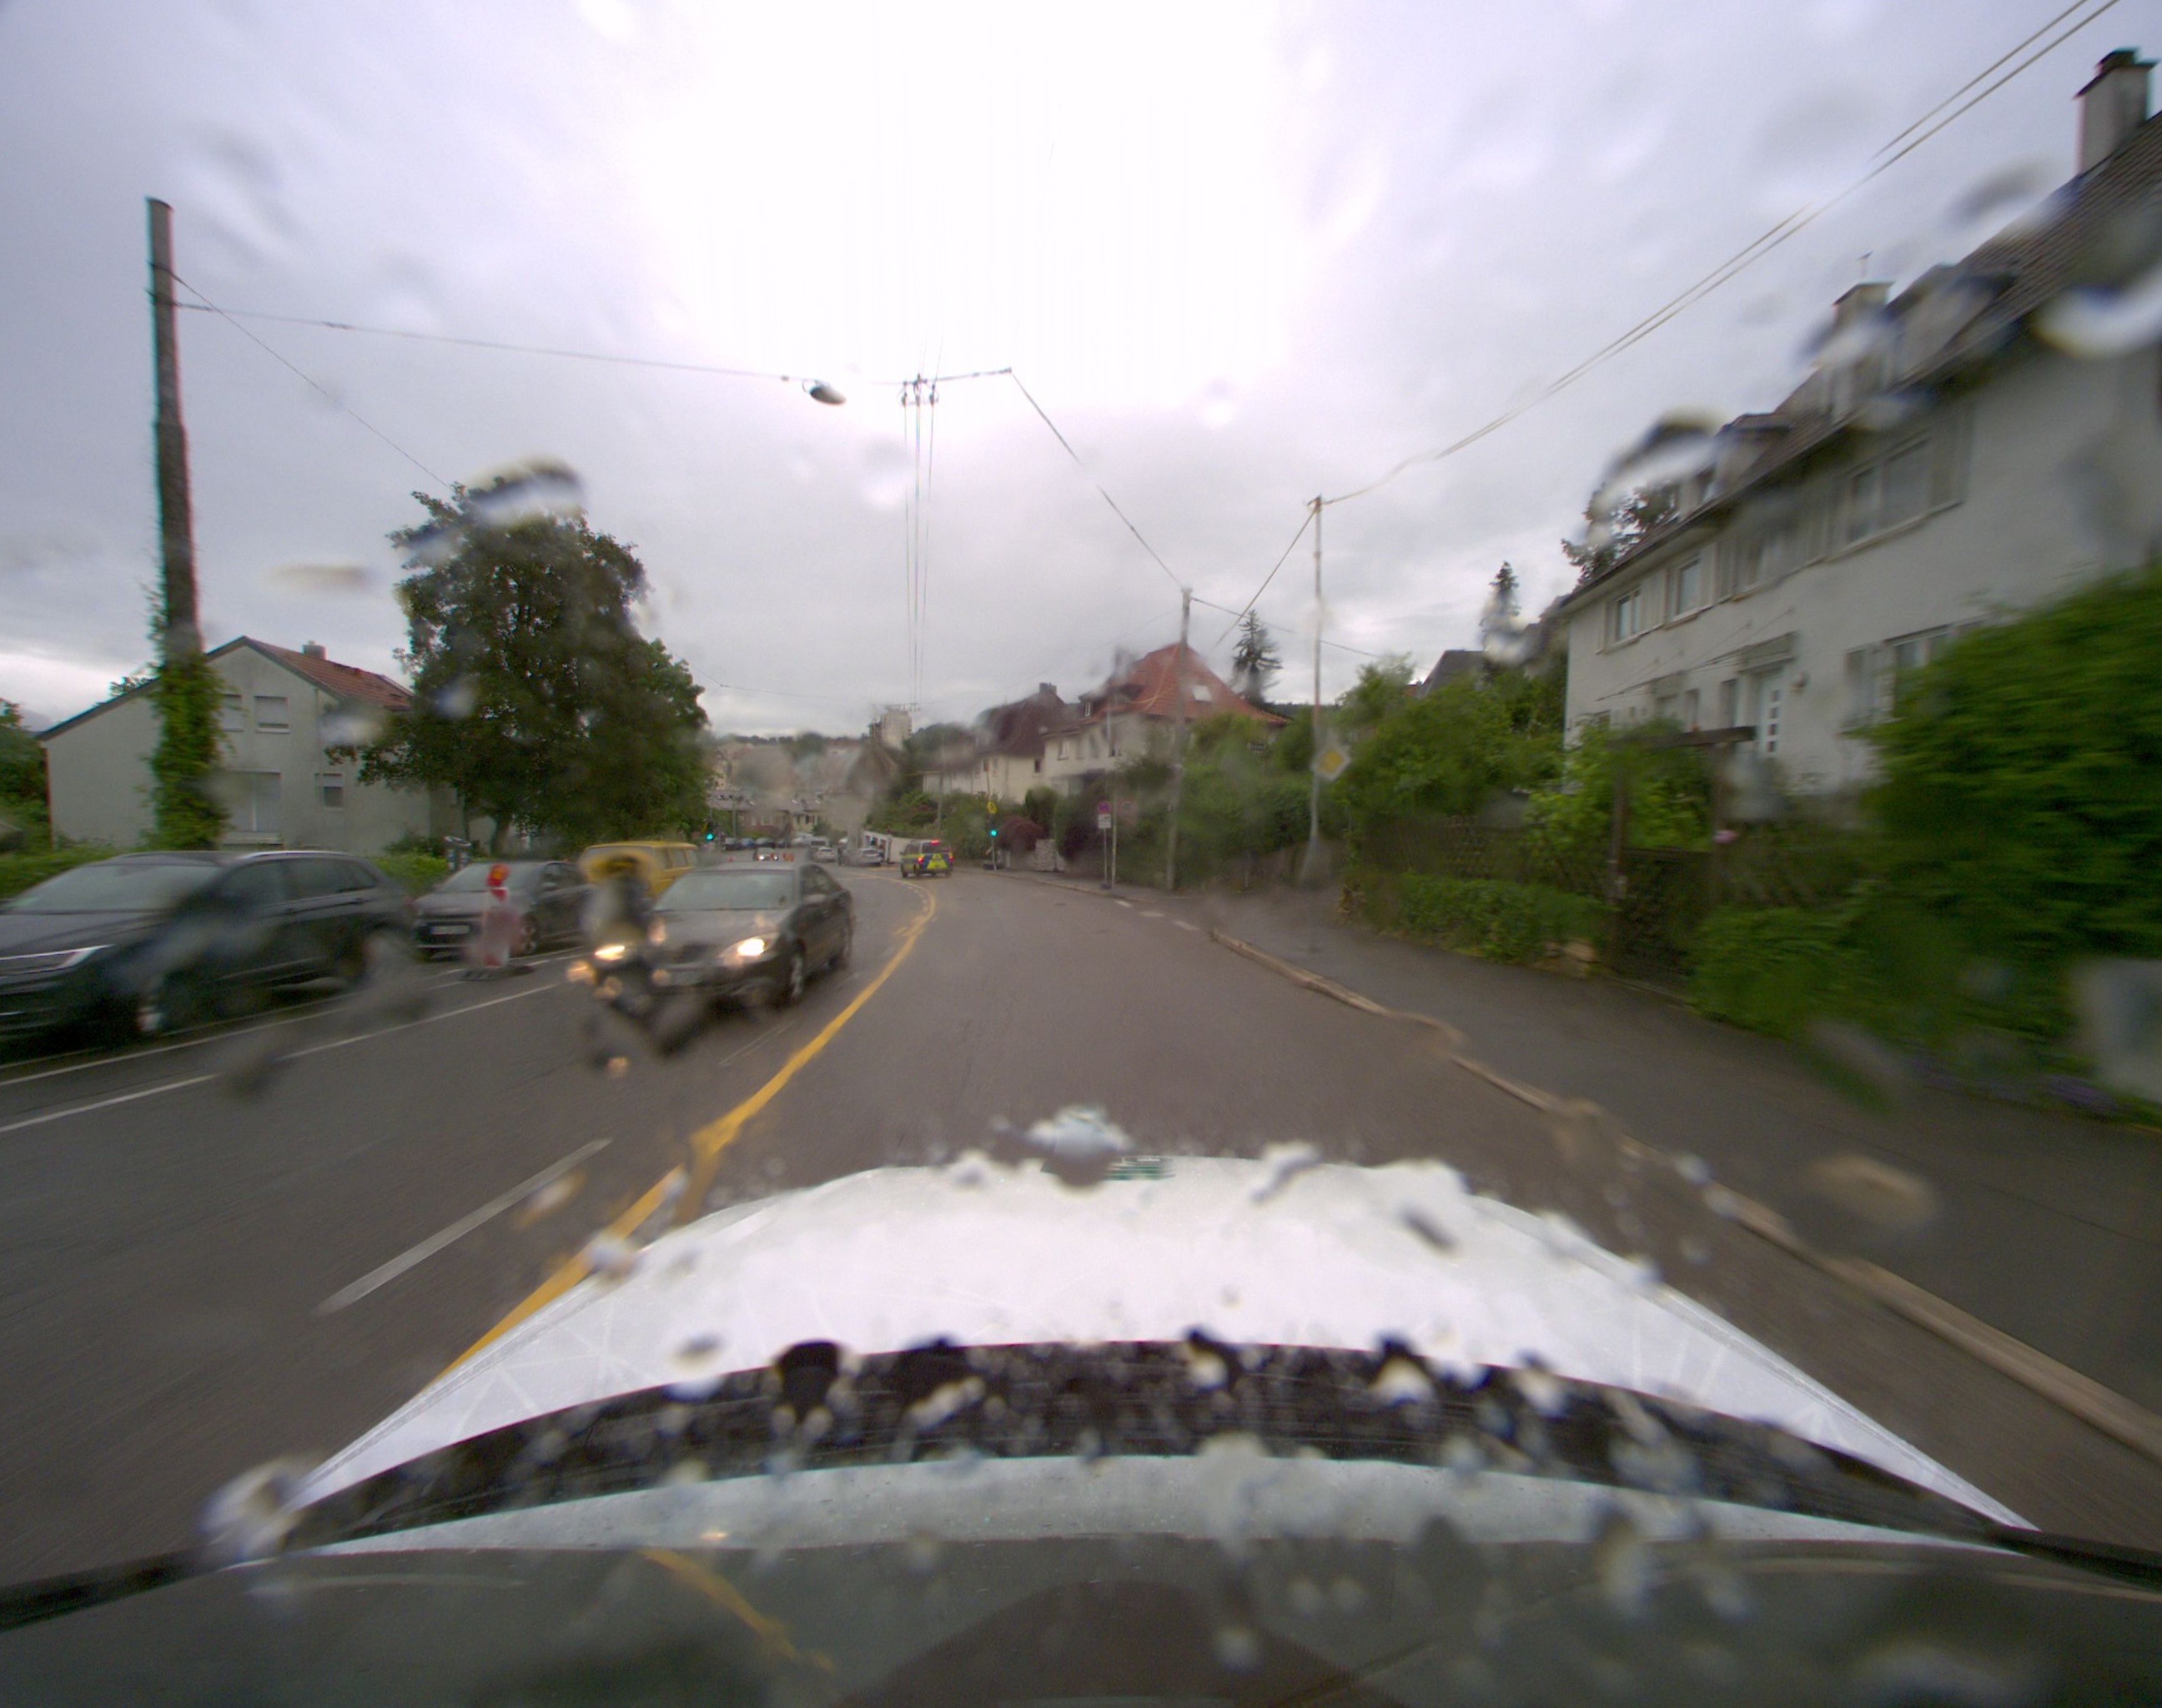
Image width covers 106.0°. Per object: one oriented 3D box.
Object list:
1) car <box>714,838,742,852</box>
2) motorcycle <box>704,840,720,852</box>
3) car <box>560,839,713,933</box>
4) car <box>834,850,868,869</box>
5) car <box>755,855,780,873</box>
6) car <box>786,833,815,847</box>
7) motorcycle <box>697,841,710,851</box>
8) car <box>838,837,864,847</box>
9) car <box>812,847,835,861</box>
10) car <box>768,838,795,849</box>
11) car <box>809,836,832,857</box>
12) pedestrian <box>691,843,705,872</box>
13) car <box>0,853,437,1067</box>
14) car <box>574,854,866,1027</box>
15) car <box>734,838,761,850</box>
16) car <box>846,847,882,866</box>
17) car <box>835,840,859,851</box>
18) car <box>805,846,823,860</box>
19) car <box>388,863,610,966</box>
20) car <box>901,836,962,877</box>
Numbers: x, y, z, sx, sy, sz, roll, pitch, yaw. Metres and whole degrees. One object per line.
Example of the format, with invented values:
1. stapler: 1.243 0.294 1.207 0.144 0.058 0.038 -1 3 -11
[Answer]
1. car: -44.770 -1.122 103.341 1.918 1.576 4.381 3 2 -5
2. motorcycle: -44.256 -1.013 97.727 1.786 1.303 0.616 4 2 21
3. car: -10.494 0.668 19.639 1.803 1.928 4.562 -2 0 -10
4. car: -19.786 0.469 69.949 1.725 1.513 3.960 -1 1 -32
5. car: -27.562 0.867 71.497 1.708 1.461 4.644 -2 1 -26
6. car: -43.197 -2.128 125.596 1.836 2.078 5.038 3 2 12
7. motorcycle: -44.044 -0.912 95.047 0.508 1.139 1.922 0 2 0
8. car: -39.191 -2.036 138.951 1.914 1.630 4.698 4 2 17
9. car: -26.064 -0.023 82.437 1.714 1.414 4.008 -1 1 -25
10. car: -43.984 -1.584 119.810 1.799 1.476 4.531 3 2 6
11. car: -31.631 -0.917 99.008 2.100 2.542 5.598 0 1 -11
12. pedestrian: -24.490 0.244 52.044 0.711 1.816 1.137 0 1 -29
13. car: -8.969 0.803 8.302 1.719 1.608 4.451 0 0 -8
14. car: -3.853 0.768 9.664 1.788 1.490 4.662 0 1 -6
15. car: -44.386 -1.344 108.577 1.694 1.404 4.473 4 2 -1
16. car: -17.534 0.193 65.620 1.792 1.420 4.389 -2 1 -29
17. car: -32.680 -1.206 113.962 1.670 1.483 4.209 3 1 6
18. car: -30.606 -0.102 93.510 1.757 1.495 4.162 0 2 -16
19. car: -9.544 0.906 13.698 1.573 1.454 3.455 -1 0 -8
20. car: -7.995 0.114 43.202 2.318 1.939 4.293 -3 1 -22
